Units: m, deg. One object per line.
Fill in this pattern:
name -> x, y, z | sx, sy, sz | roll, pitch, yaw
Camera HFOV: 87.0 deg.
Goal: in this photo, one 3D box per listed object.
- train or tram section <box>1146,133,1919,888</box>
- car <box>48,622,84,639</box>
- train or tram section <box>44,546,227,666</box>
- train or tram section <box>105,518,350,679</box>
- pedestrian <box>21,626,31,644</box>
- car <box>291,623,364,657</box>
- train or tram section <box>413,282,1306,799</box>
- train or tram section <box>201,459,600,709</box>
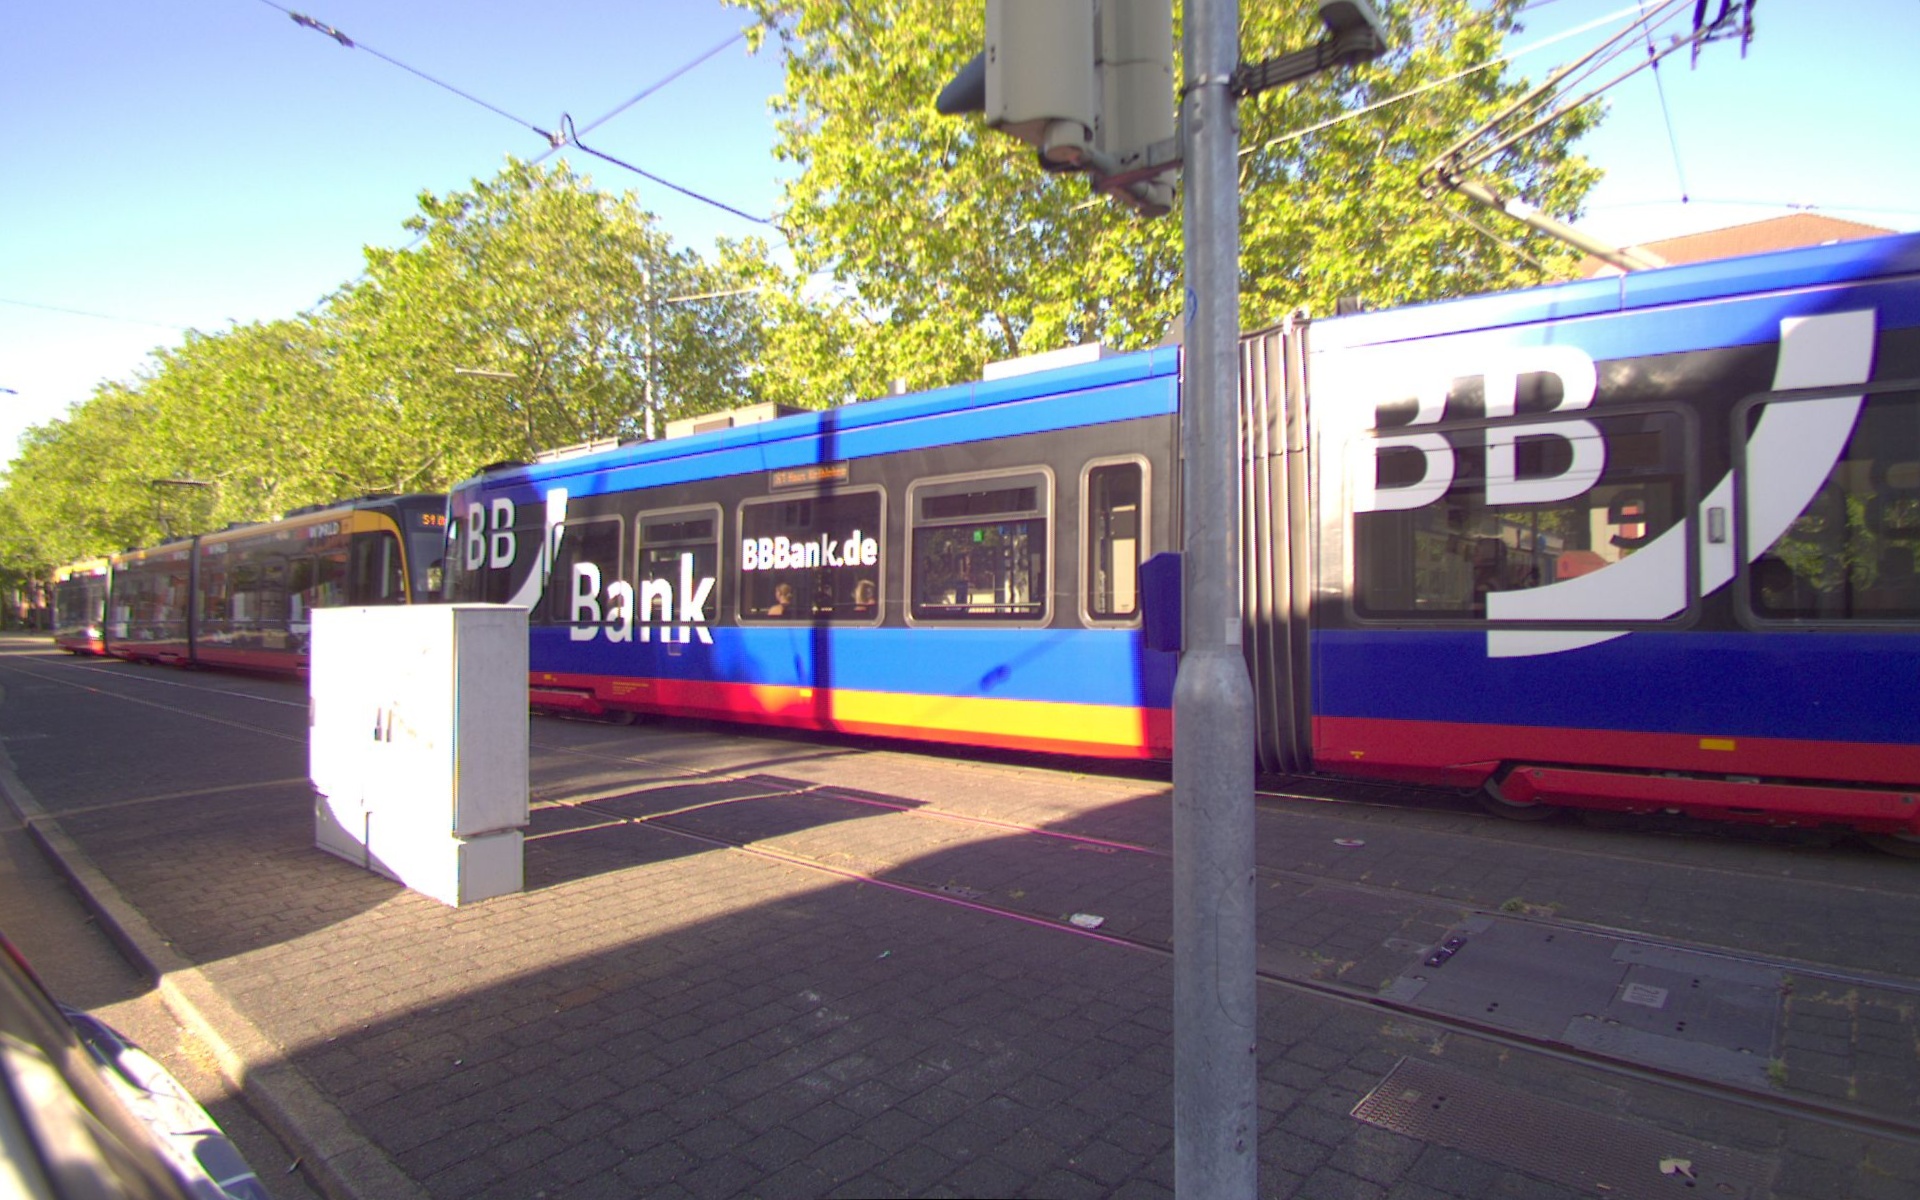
train or tram section -> 7.350, -0.452, 4.940 | 12.461, 3.640, 3.032 | -1, -1, 32
car -> -85.153, 2.901, 96.388 | 3.995, 1.563, 1.859 | -1, -1, 38
train or tram section -> -29.773, 0.303, 36.198 | 12.884, 3.640, 3.023 | -1, -2, 42
train or tram section -> -20.560, 0.076, 27.947 | 11.946, 3.640, 3.023 | -1, -2, 42
pedestrian -> -87.060, 3.286, 94.333 | 0.677, 1.654, 0.570 | -1, -2, 43
car -> -28.944, 1.792, 46.238 | 4.000, 1.497, 1.857 | -1, -2, 43
train or tram section -> -2.388, -0.313, 12.152 | 12.102, 3.640, 3.025 | -1, -1, 39
train or tram section -> -11.579, -0.122, 19.935 | 12.110, 3.640, 3.023 | -1, -2, 42
